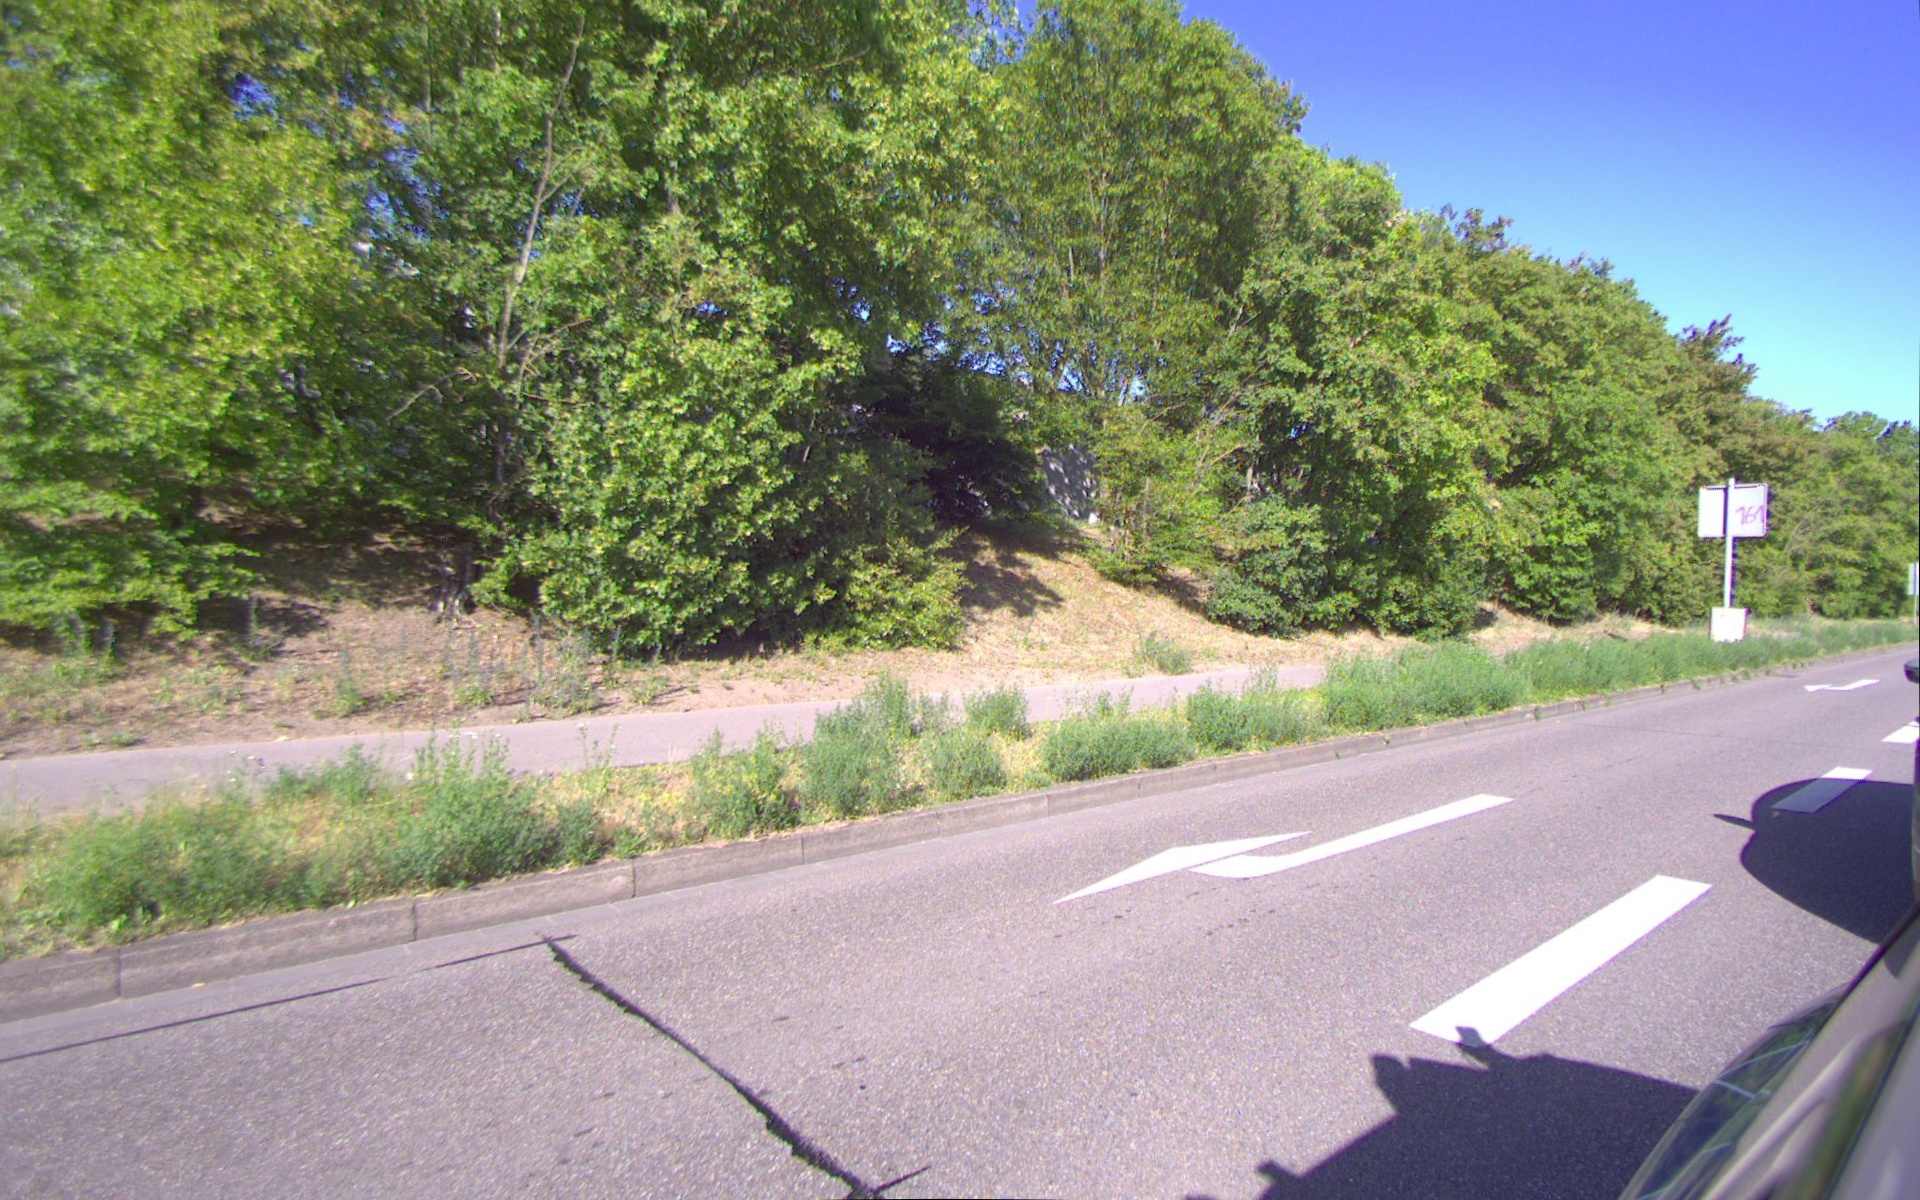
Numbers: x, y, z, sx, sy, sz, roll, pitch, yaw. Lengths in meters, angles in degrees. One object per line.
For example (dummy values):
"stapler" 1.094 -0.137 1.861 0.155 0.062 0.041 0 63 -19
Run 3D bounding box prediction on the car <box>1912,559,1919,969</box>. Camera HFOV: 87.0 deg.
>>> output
"car" 5.833 0.661 4.559 3.863 1.617 1.869 0 0 -41
